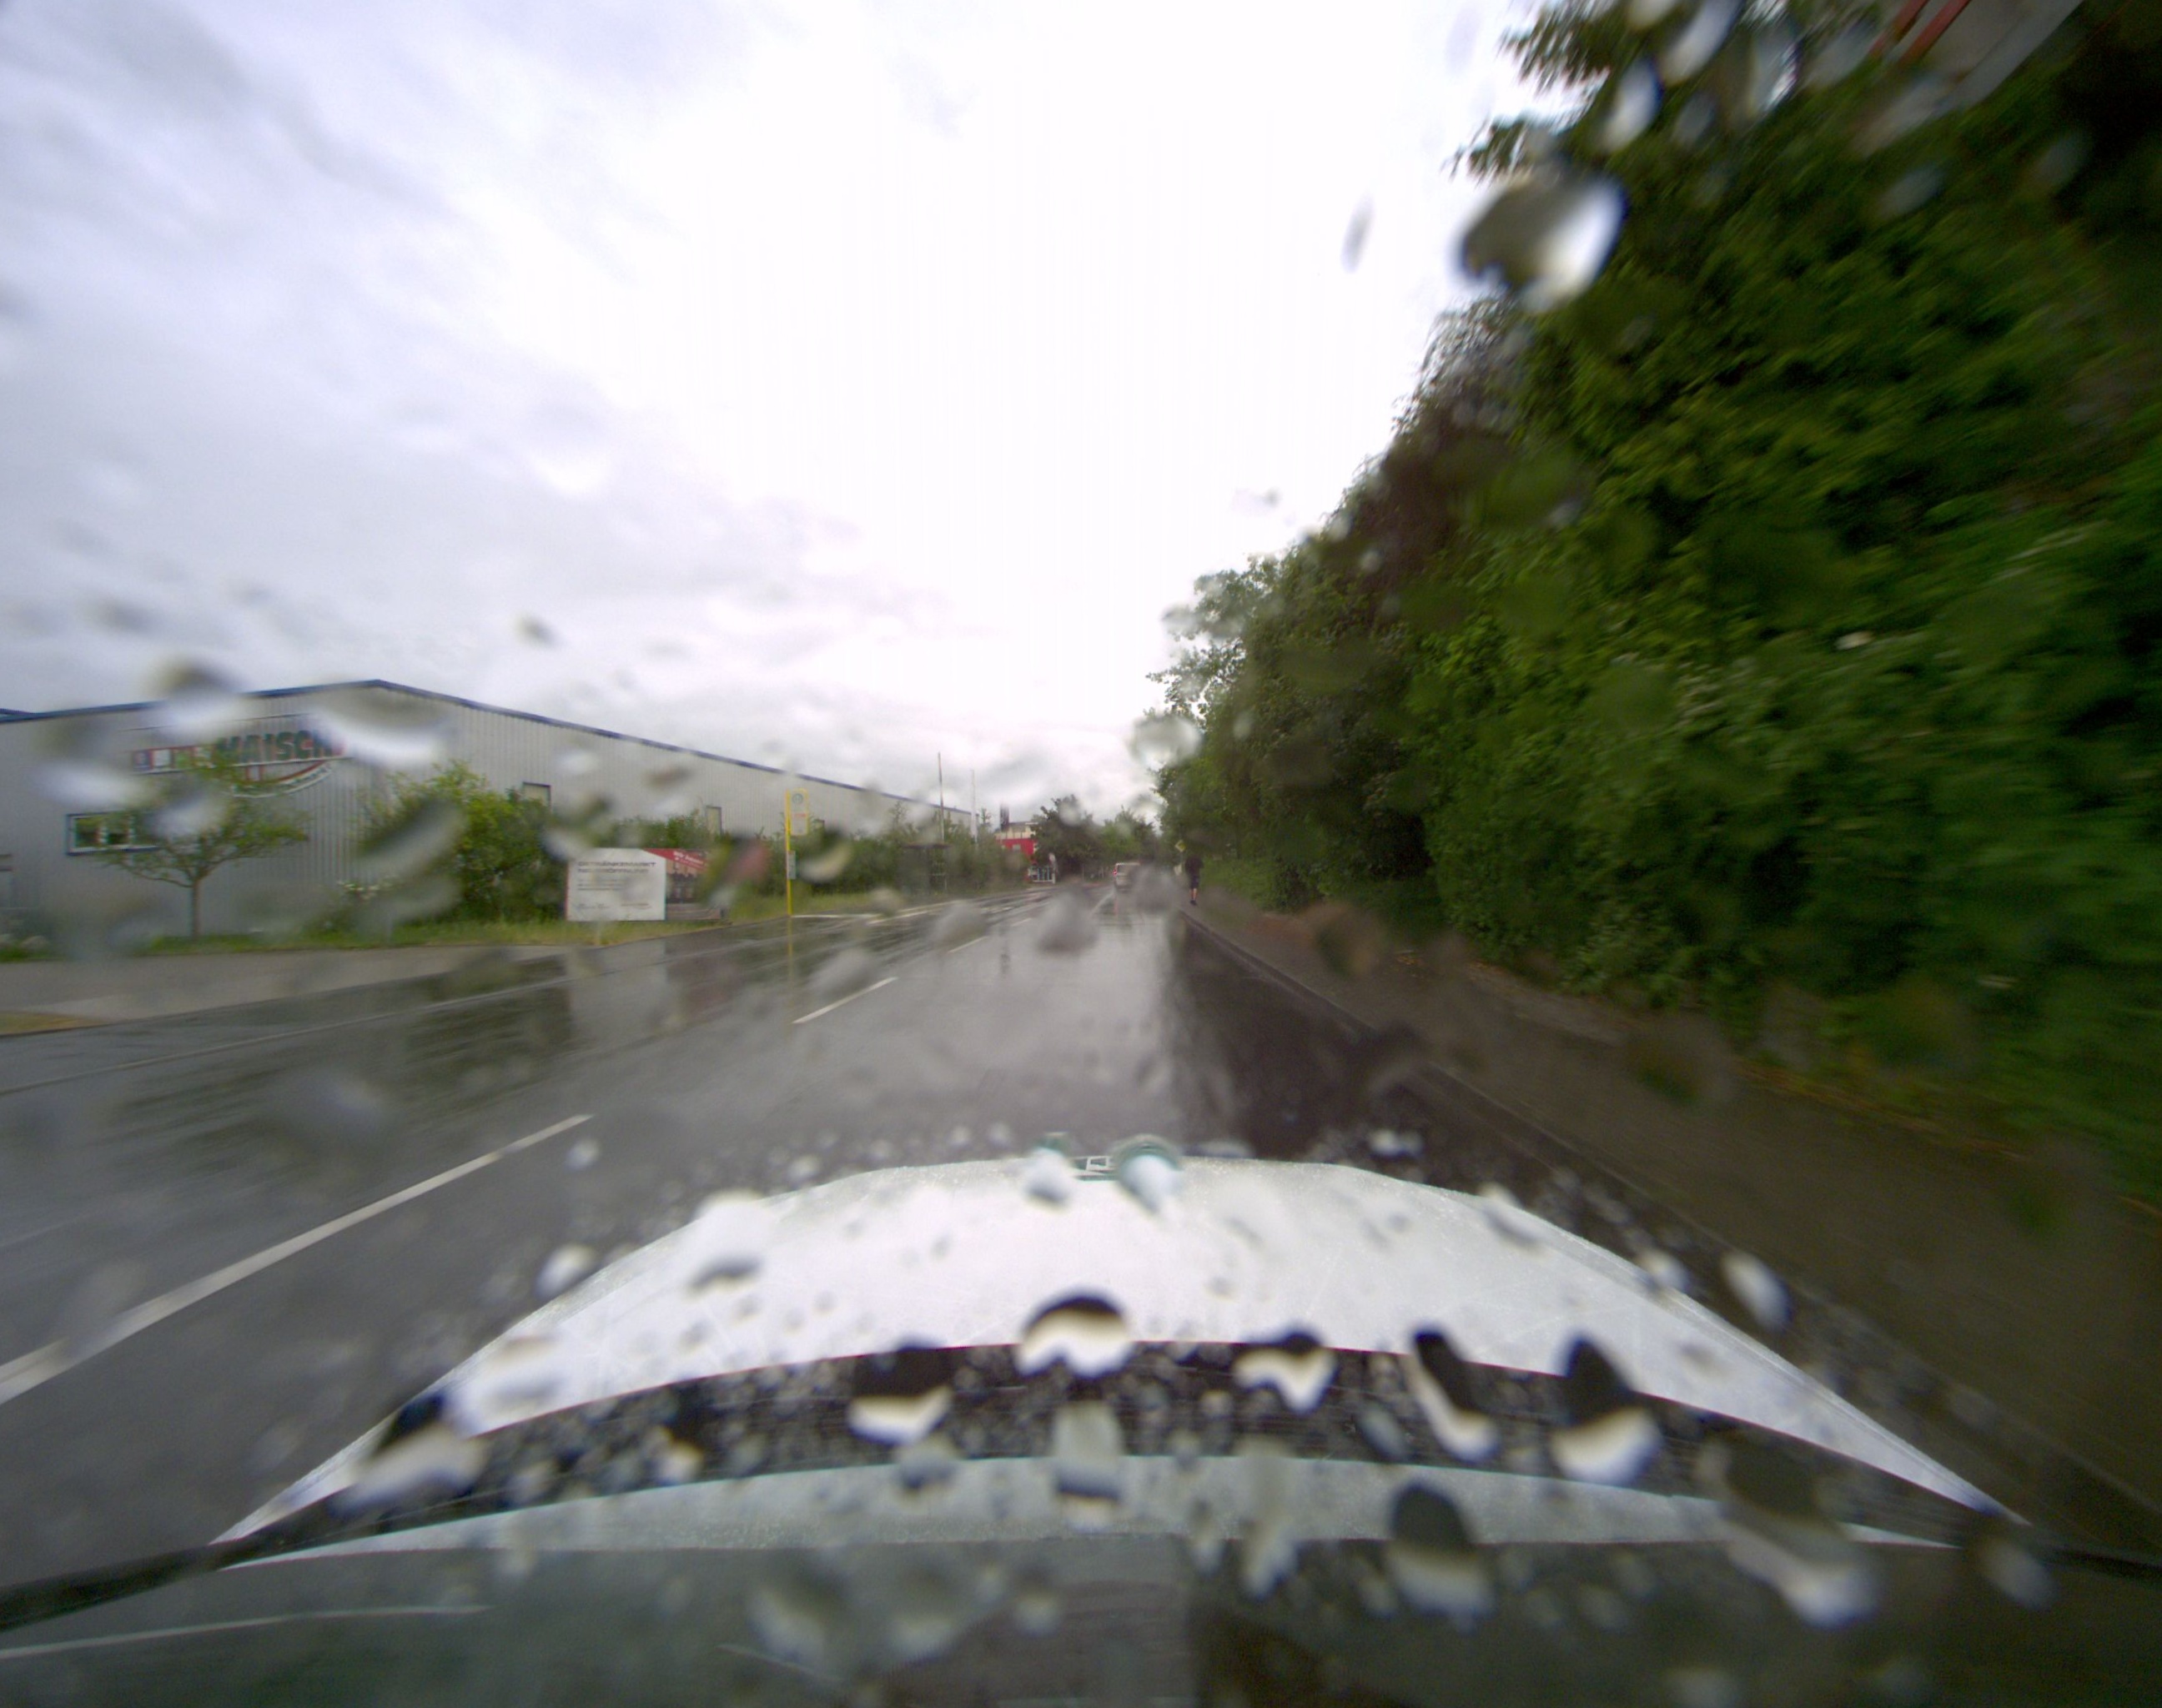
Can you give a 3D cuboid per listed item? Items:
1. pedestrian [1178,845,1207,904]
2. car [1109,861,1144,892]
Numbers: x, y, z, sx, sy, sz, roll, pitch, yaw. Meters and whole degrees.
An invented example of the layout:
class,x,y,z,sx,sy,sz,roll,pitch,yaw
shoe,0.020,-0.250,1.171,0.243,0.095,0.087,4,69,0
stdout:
class,x,y,z,sx,sy,sz,roll,pitch,yaw
pedestrian,3.636,0.661,26.549,0.742,1.838,0.890,-3,-1,2
car,3.049,1.446,53.571,2.107,1.888,4.507,-1,-1,5
